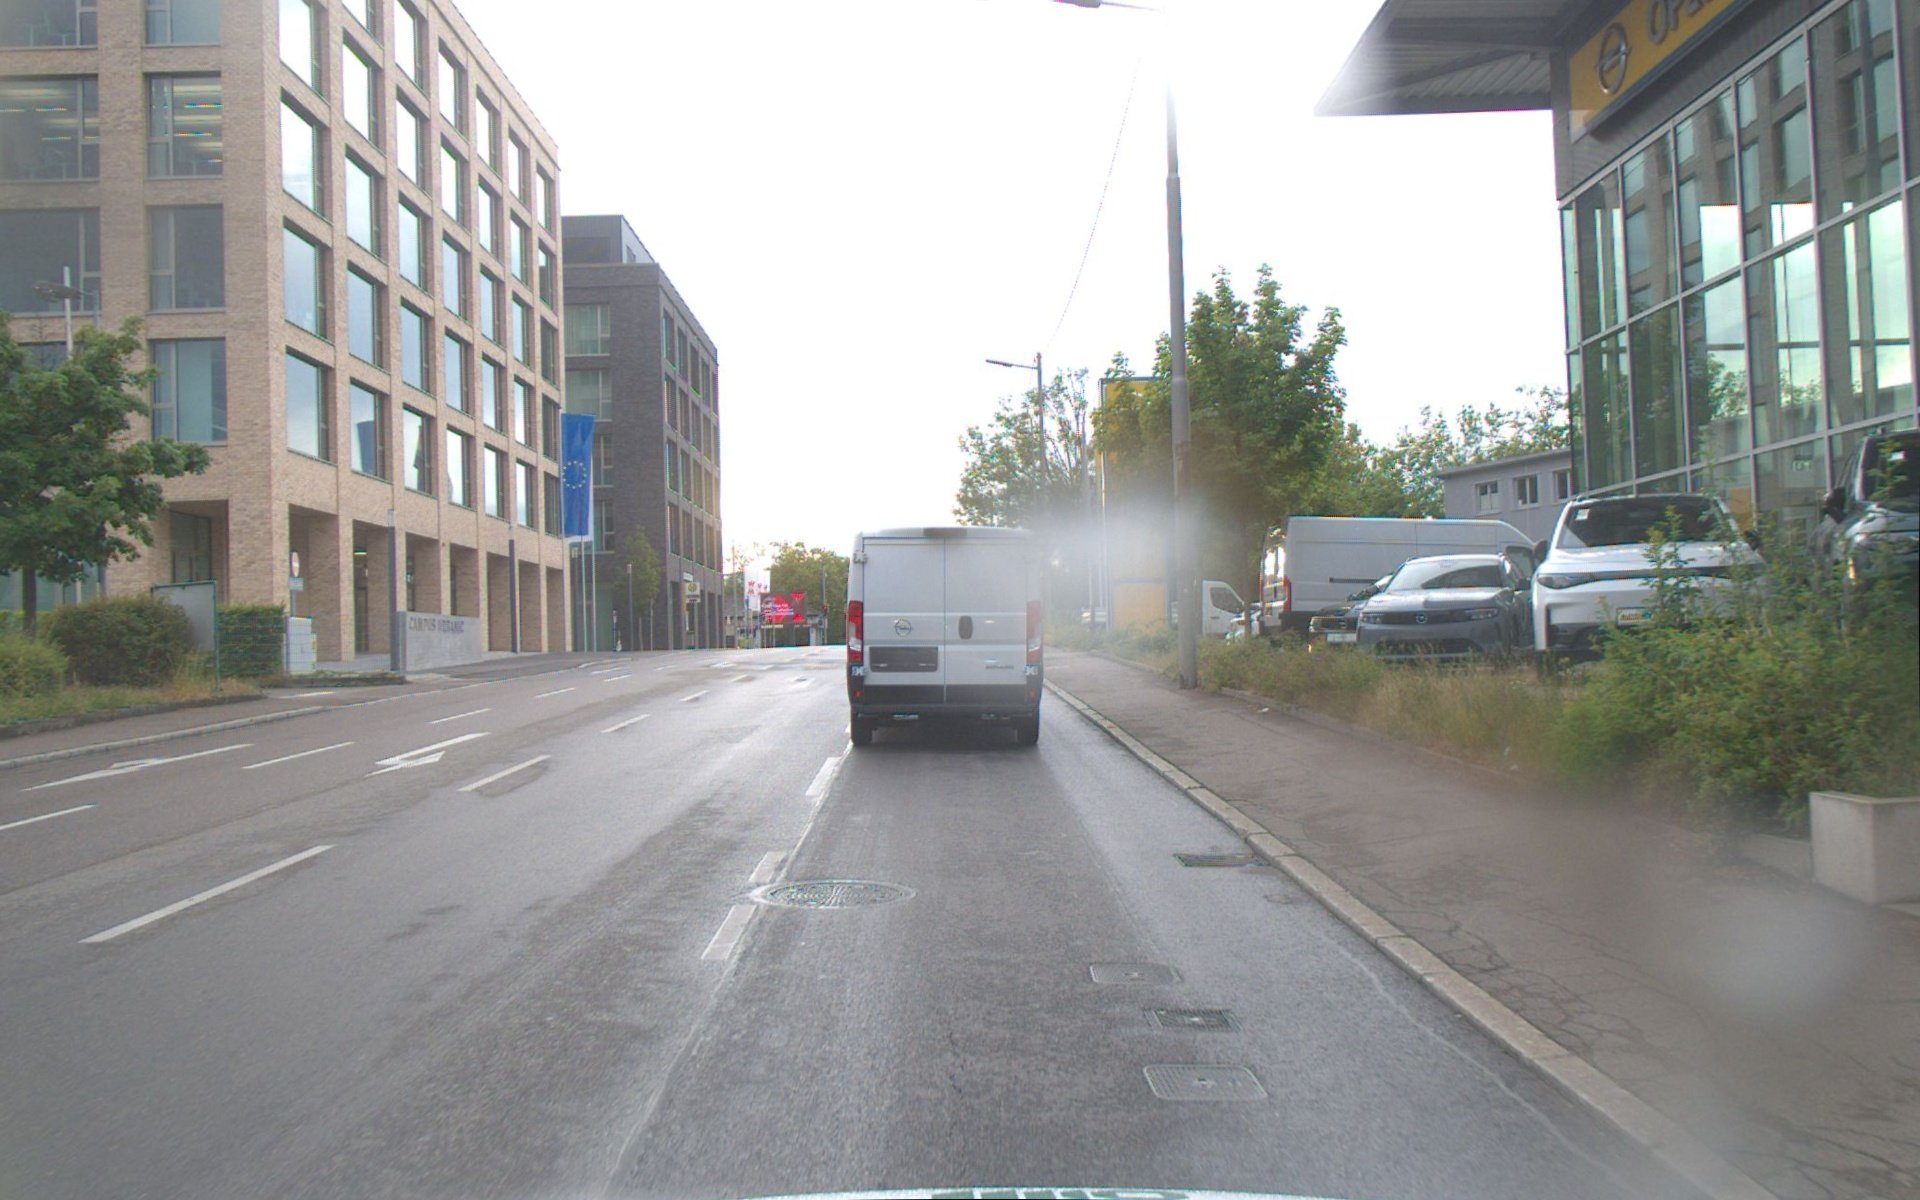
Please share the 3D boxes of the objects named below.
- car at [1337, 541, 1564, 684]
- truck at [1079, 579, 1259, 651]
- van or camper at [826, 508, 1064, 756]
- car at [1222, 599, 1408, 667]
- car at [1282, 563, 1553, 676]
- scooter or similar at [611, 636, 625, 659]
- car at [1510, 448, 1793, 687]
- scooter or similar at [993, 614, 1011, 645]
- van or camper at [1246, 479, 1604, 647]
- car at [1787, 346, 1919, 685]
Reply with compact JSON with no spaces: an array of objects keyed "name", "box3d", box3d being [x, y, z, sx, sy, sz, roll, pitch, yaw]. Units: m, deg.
[{"name":"car","box3d":[6.179,0.148,20.452,1.872,1.480,4.567,-4,-2,26]},{"name":"truck","box3d":[6.275,0.446,50.007,5.045,2.049,2.344,-1,0,-3]},{"name":"van or camper","box3d":[-0.154,0.330,18.805,2.292,2.398,5.199,-1,0,0]},{"name":"car","box3d":[8.241,0.761,38.645,3.905,1.453,1.894,-1,0,0]},{"name":"car","box3d":[6.970,0.263,24.962,4.484,1.480,1.885,-2,-2,-44]},{"name":"scooter or similar","box3d":[-16.109,2.246,77.955,0.343,1.090,1.428,-1,-2,0]},{"name":"car","box3d":[6.255,-0.230,15.135,1.953,1.740,4.577,-4,-1,22]},{"name":"scooter or similar","box3d":[2.192,1.522,86.251,0.428,1.615,1.263,-1,-1,-23]},{"name":"van or camper","box3d":[8.079,-0.626,29.191,5.620,2.771,2.351,-1,-1,-1]},{"name":"car","box3d":[6.397,-0.486,10.350,1.954,1.740,4.425,-4,-2,25]}]
